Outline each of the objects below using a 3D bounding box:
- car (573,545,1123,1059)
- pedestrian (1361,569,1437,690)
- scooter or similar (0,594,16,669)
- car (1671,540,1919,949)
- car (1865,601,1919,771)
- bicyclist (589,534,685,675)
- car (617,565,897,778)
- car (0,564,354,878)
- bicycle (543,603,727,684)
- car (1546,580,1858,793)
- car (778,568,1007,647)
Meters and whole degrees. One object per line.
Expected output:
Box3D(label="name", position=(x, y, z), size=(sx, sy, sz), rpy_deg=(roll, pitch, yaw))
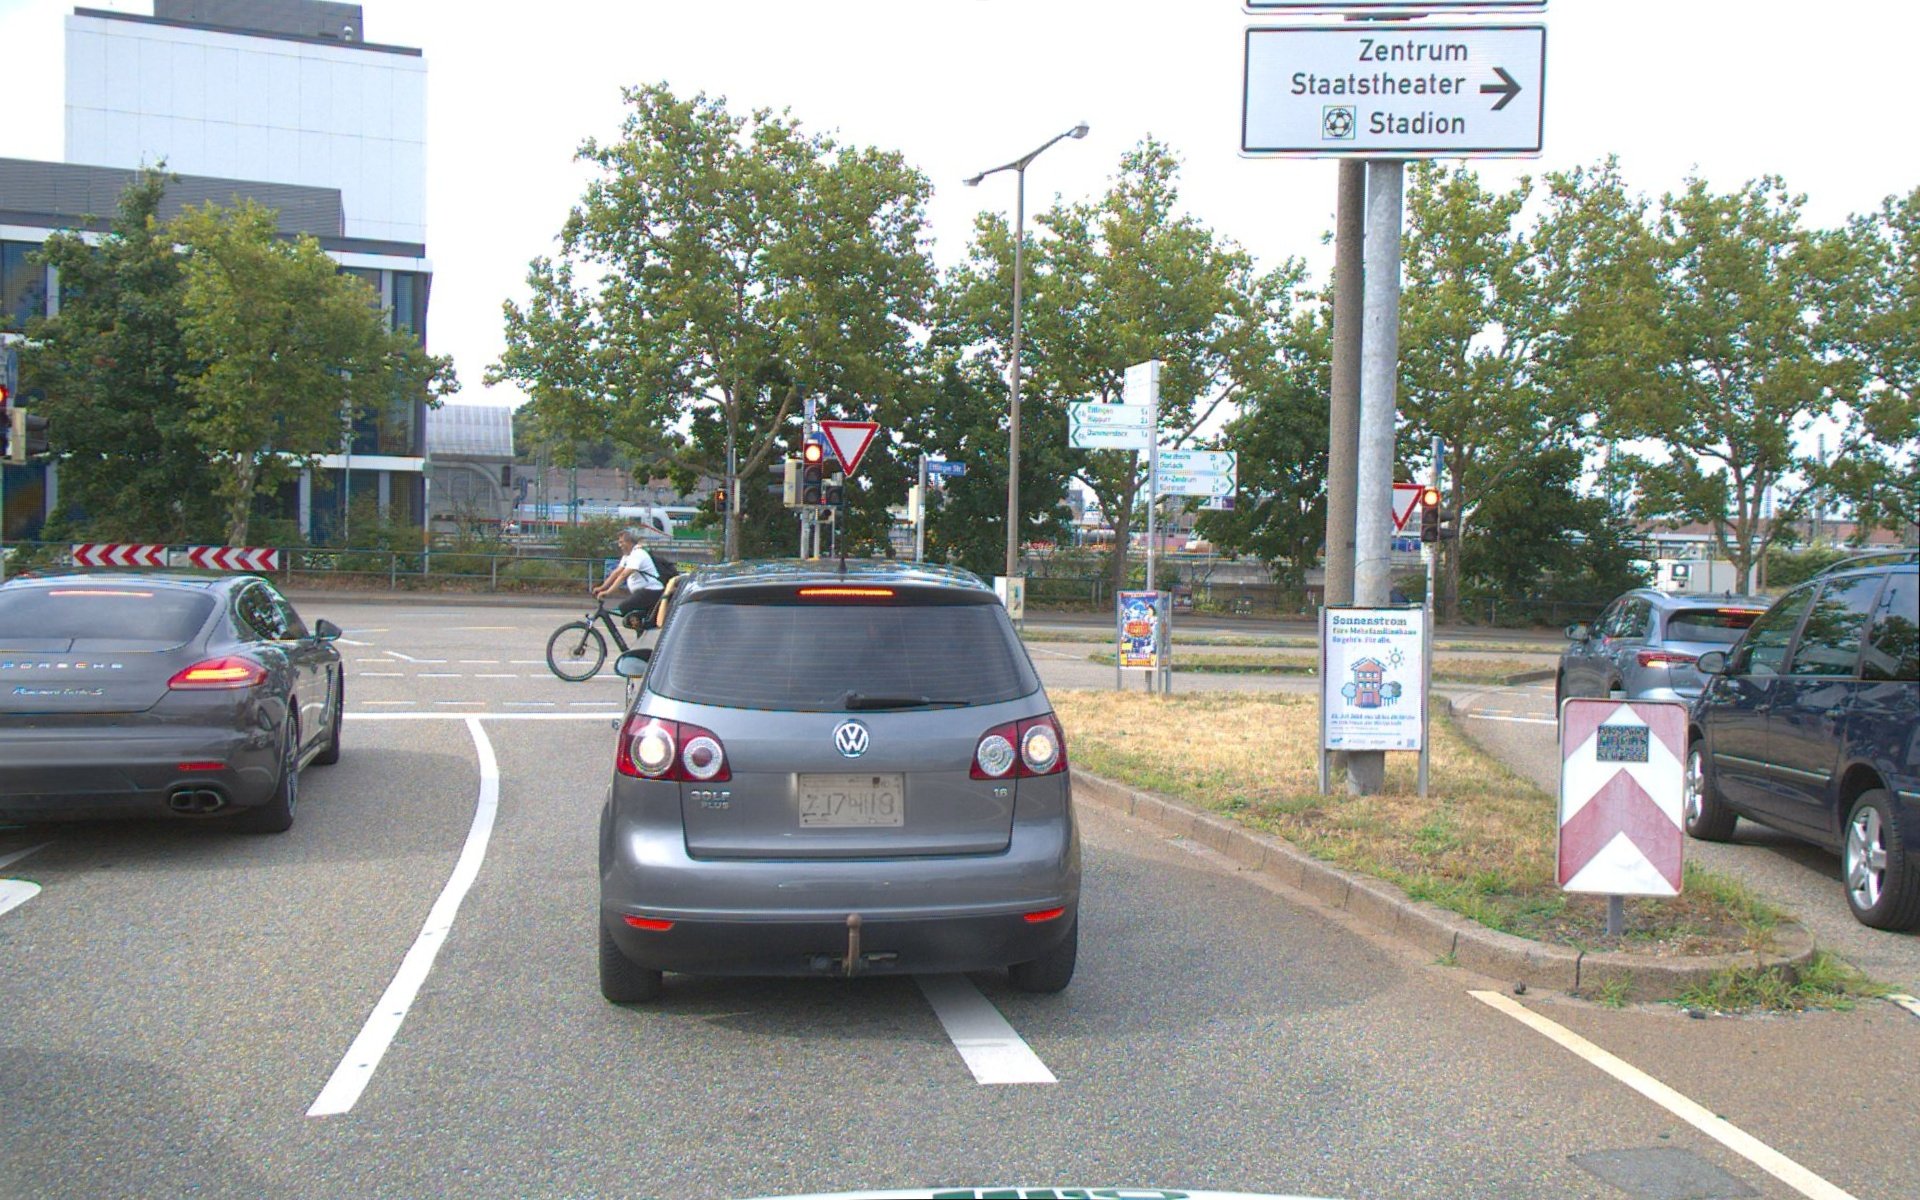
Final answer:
Box3D(label="car", position=(-0.626, 0.601, 7.206), size=(1.709, 1.573, 4.074), rpy_deg=(1, 1, -9))
Box3D(label="pedestrian", position=(6.630, 0.430, 24.973), size=(1.025, 1.740, 0.854), rpy_deg=(2, 1, 17))
Box3D(label="scooter or similar", position=(-12.500, 0.364, 19.458), size=(2.349, 0.864, 0.802), rpy_deg=(0, 1, -26))
Box3D(label="car", position=(5.245, 0.660, 8.677), size=(1.713, 1.754, 4.141), rpy_deg=(3, 0, 9))
Box3D(label="car", position=(10.218, 0.890, 15.544), size=(1.713, 1.671, 4.141), rpy_deg=(3, 0, 10))
Box3D(label="bicyclist", position=(-4.058, 0.049, 20.742), size=(1.094, 1.726, 0.809), rpy_deg=(1, 1, -17))
Box3D(label="car", position=(-1.853, 0.482, 13.905), size=(1.713, 1.508, 4.064), rpy_deg=(1, 1, -16))
Box3D(label="car", position=(-4.866, 0.531, 10.108), size=(1.789, 1.438, 4.756), rpy_deg=(1, 1, -16))
Box3D(label="bicycle", position=(-4.080, 0.537, 20.726), size=(2.192, 0.969, 0.808), rpy_deg=(1, 1, -17))
Box3D(label="car", position=(6.718, 0.694, 15.436), size=(1.655, 1.613, 4.160), rpy_deg=(3, 0, 11))
Box3D(label="car", position=(-1.281, 0.138, 31.131), size=(3.994, 1.391, 1.694), rpy_deg=(1, 1, -19))
